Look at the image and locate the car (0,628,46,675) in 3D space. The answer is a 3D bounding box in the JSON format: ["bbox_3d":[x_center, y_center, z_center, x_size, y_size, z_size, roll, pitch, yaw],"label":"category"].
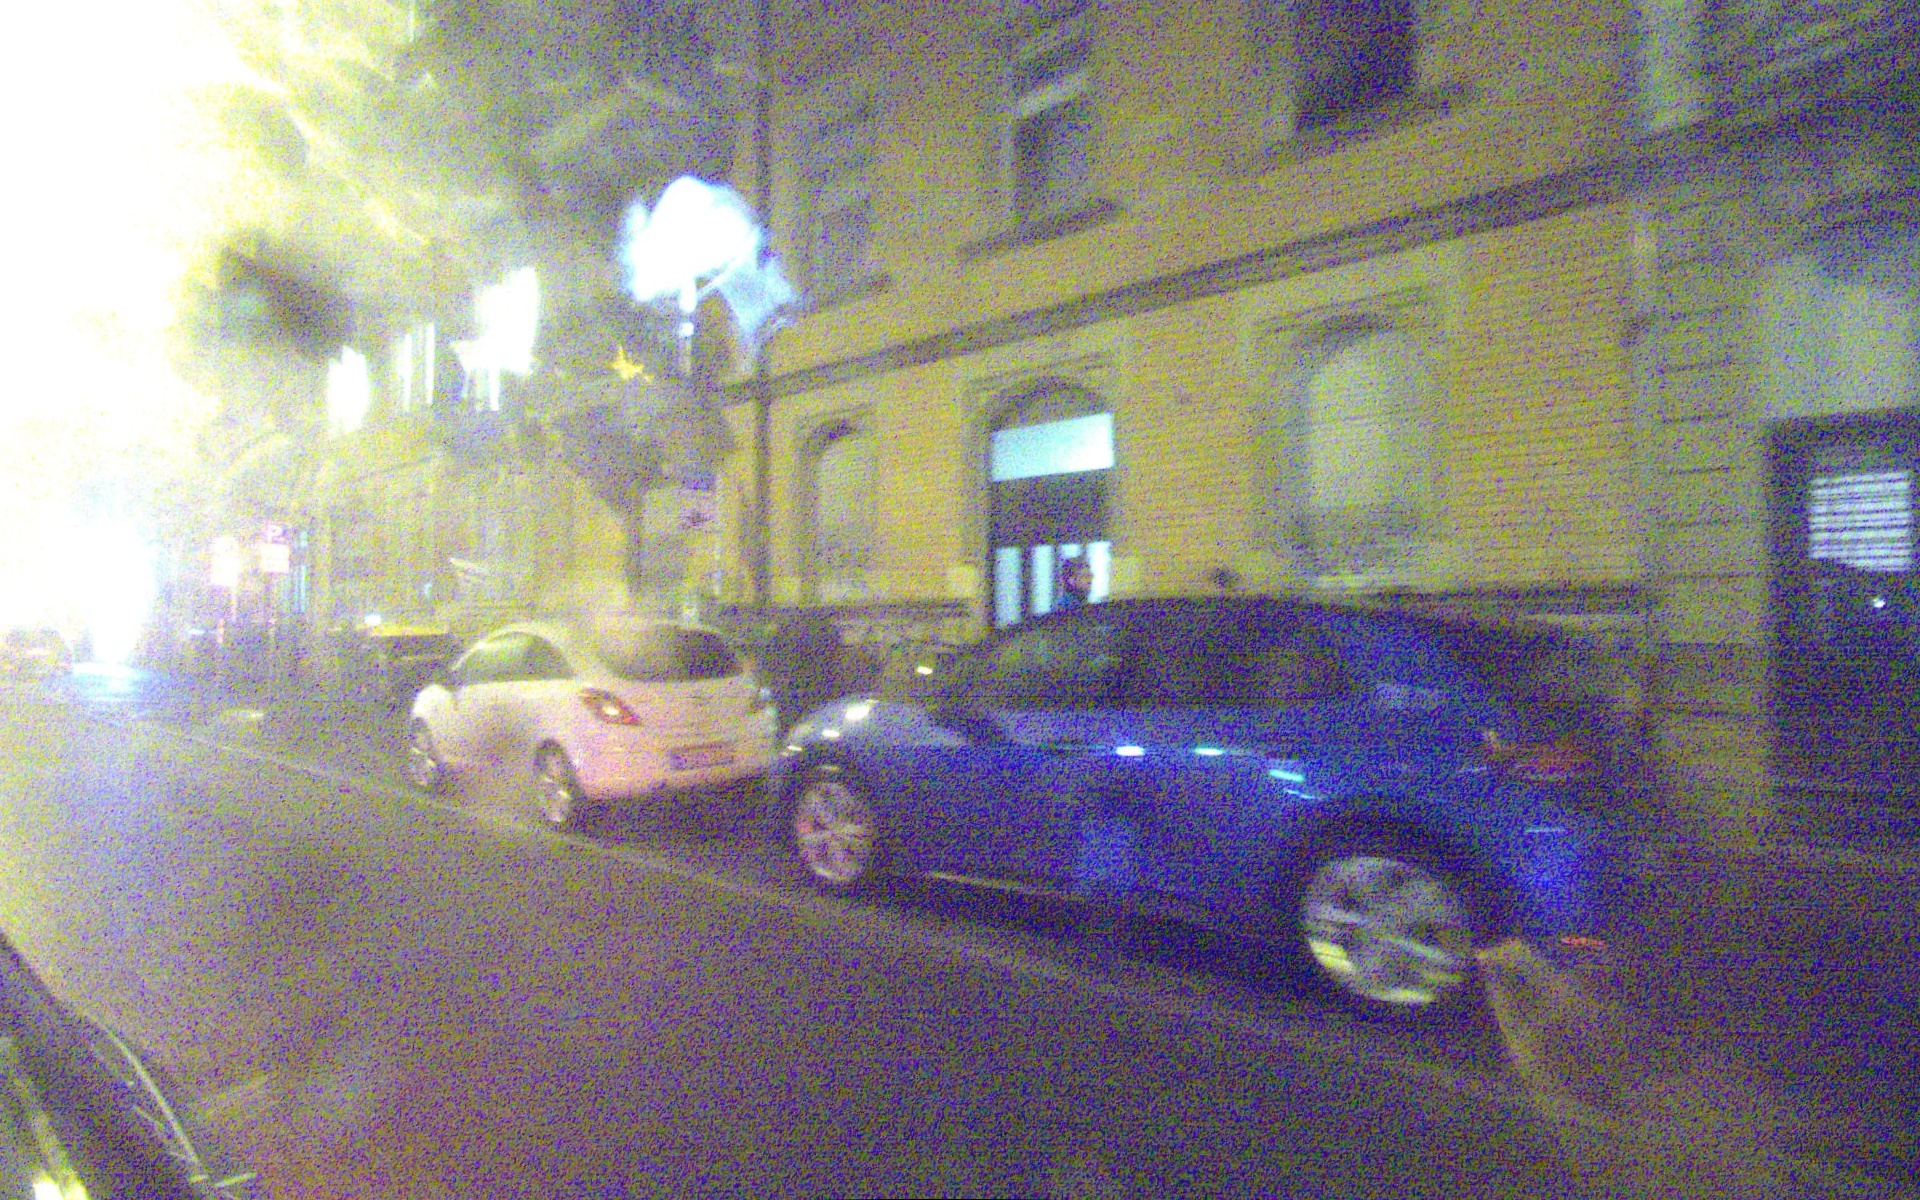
[{"bbox_3d":[-32.100,1.720,33.865,3.733,1.489,1.828,-2,-1,41],"label":"car"}]

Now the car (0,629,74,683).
[{"bbox_3d":[-27.872,1.625,30.081,3.733,1.489,1.828,-2,-1,41],"label":"car"}]

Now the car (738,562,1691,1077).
[{"bbox_3d":[0.937,0.692,4.906,4.154,1.490,1.700,-2,-2,38],"label":"car"}]

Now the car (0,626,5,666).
[{"bbox_3d":[-40.736,1.915,41.583,3.733,1.592,1.828,-2,-1,41],"label":"car"}]

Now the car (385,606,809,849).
[{"bbox_3d":[-3.081,0.834,8.189,3.786,1.489,1.697,-2,-1,43],"label":"car"}]

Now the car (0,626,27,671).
[{"bbox_3d":[-36.473,1.820,37.910,3.733,1.592,1.828,-2,-1,41],"label":"car"}]

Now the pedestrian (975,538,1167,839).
[{"bbox_3d":[0.737,0.555,6.831,1.078,1.846,0.667,-2,-1,43],"label":"pedestrian"}]
